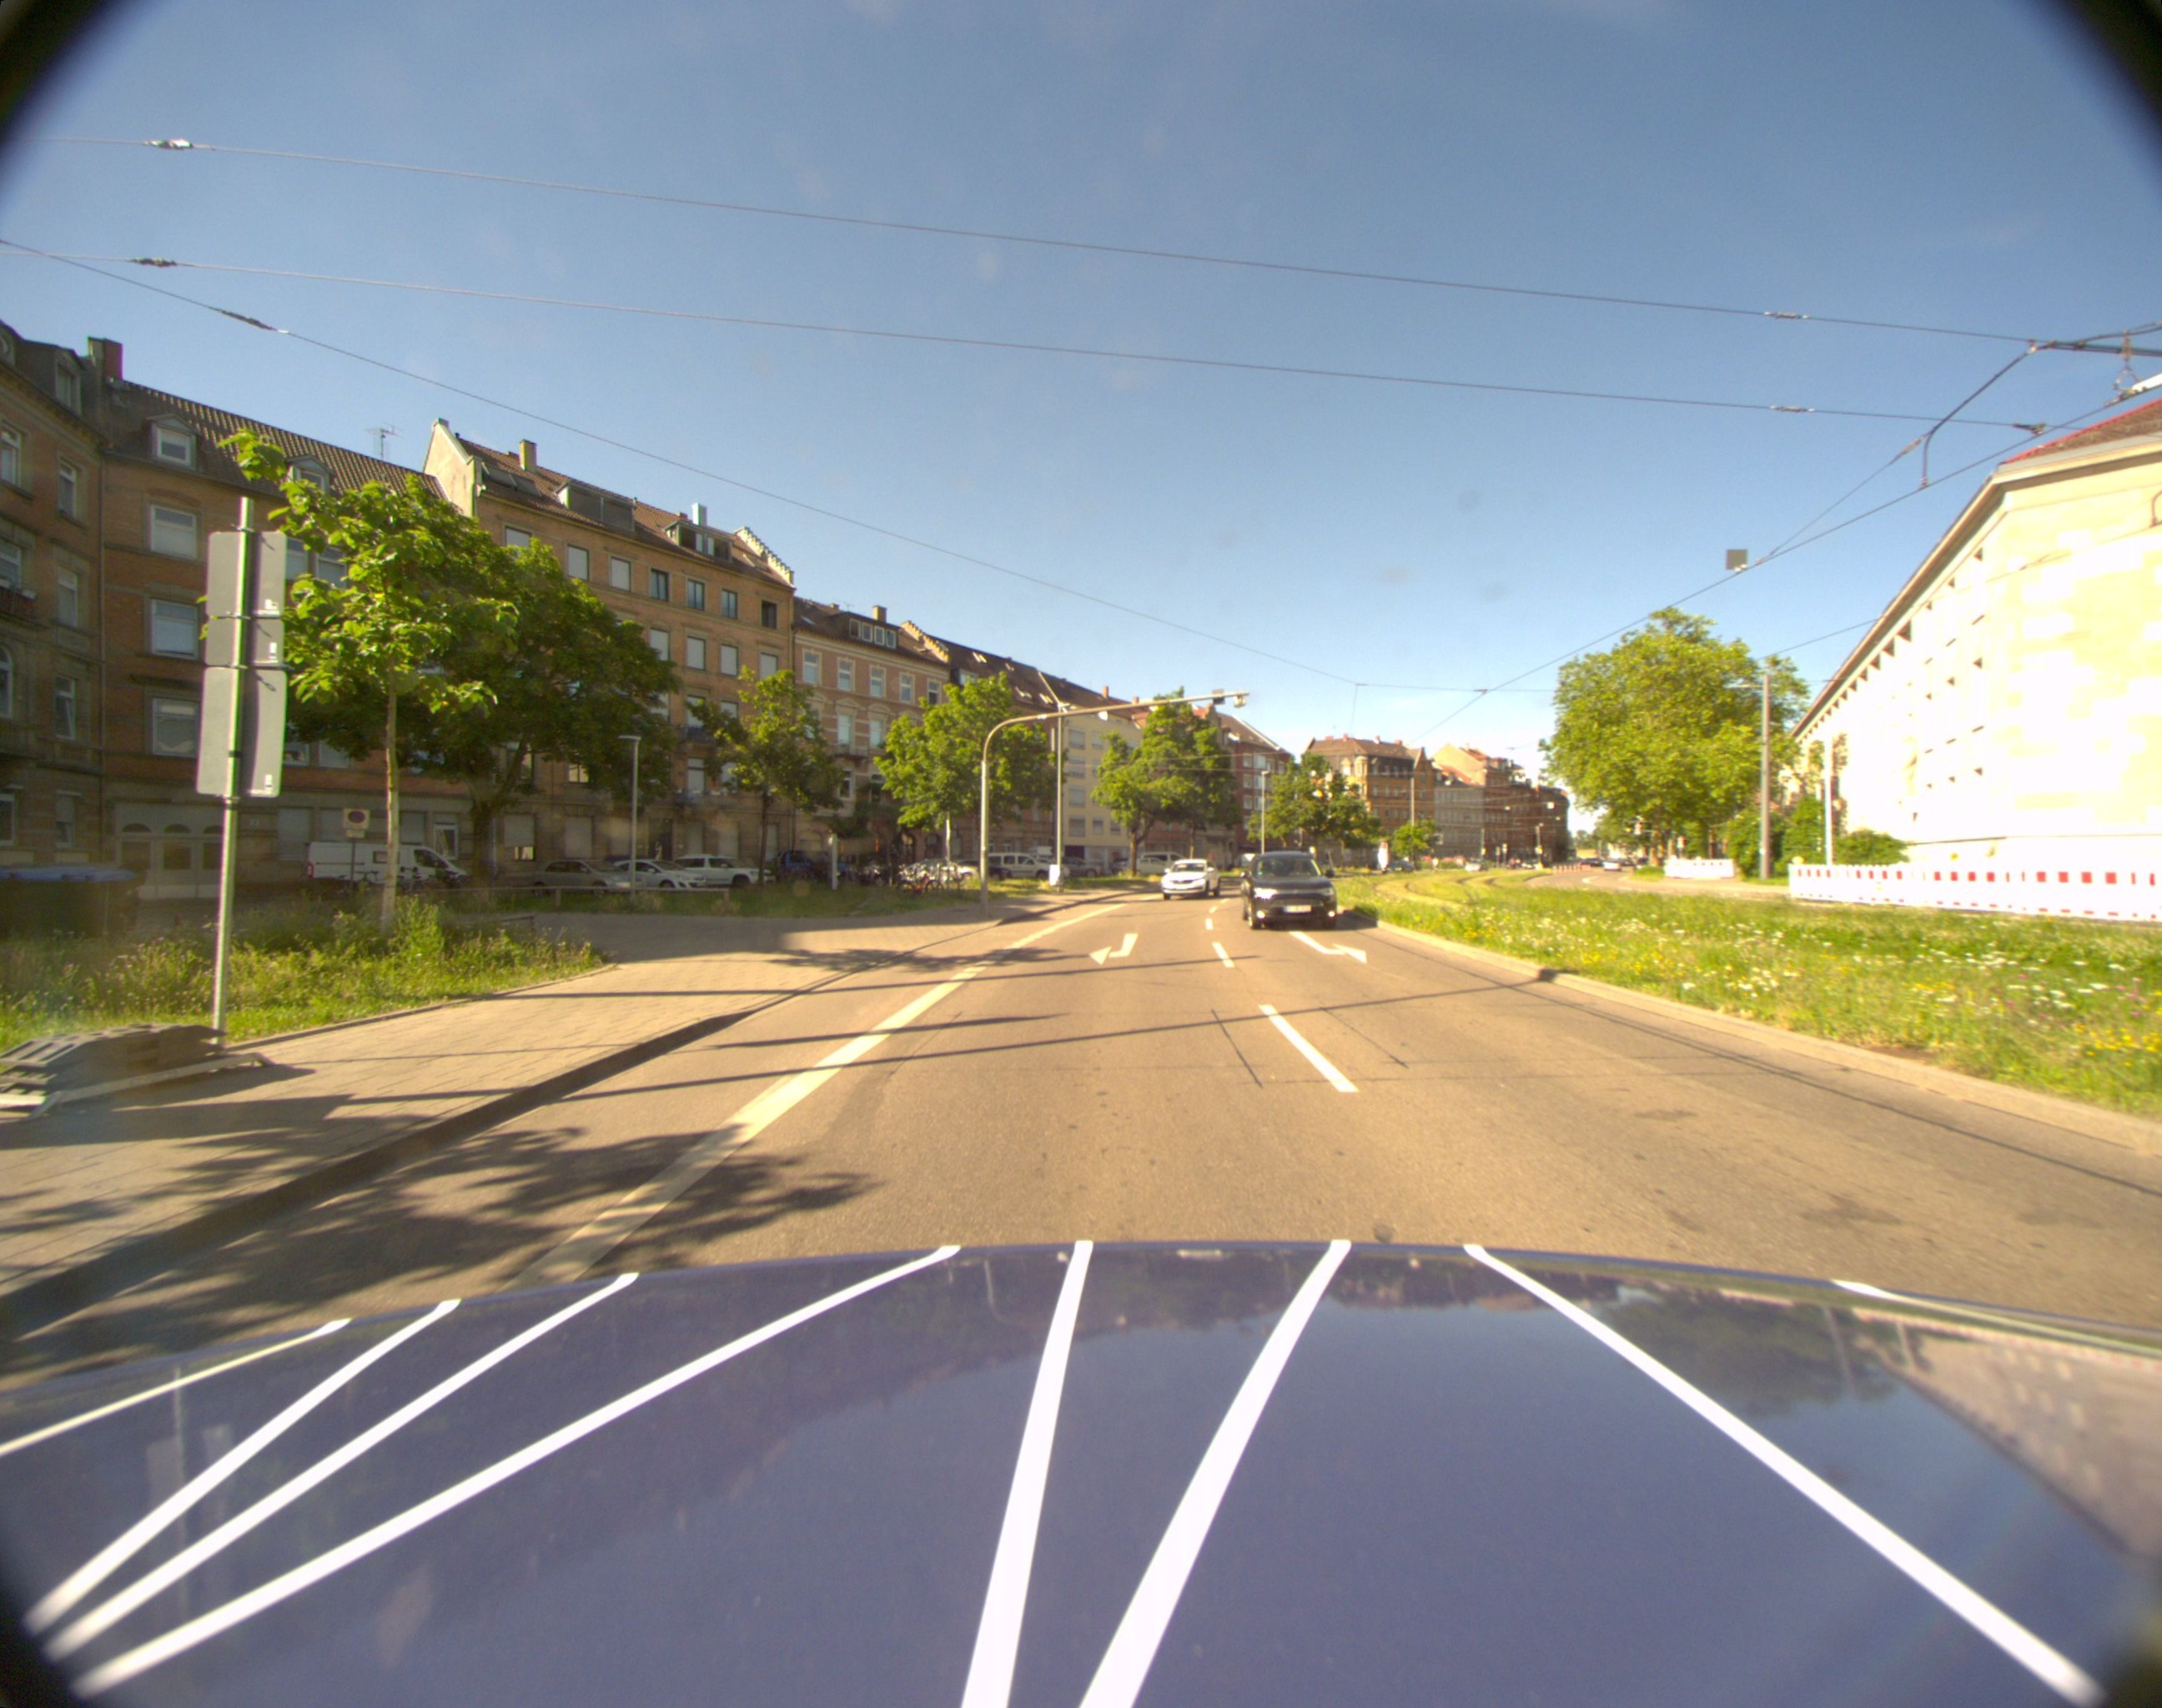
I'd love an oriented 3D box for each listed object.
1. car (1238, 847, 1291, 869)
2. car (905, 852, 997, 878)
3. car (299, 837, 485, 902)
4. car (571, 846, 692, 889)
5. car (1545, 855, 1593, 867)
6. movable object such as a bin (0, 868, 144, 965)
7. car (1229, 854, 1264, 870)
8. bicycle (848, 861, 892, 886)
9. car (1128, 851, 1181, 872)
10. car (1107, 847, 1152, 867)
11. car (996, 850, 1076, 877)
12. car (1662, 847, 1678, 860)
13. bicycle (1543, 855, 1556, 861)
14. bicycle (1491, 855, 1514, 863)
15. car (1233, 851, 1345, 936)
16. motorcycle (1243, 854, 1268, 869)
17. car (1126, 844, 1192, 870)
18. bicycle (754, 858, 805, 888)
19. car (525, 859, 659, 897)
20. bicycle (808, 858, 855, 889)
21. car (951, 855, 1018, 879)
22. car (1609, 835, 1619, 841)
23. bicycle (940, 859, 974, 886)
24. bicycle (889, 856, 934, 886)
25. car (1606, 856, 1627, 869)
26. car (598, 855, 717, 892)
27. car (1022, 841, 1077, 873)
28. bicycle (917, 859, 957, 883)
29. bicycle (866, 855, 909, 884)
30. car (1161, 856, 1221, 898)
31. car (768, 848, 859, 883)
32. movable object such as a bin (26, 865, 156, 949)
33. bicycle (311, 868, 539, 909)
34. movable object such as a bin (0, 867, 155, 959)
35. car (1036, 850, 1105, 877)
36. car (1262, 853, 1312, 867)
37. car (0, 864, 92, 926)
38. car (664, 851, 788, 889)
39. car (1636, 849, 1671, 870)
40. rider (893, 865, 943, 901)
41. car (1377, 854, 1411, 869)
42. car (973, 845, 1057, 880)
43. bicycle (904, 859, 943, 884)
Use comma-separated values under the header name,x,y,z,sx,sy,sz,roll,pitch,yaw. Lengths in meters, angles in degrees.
name,x,y,z,sx,sy,sz,roll,pitch,yaw
car,18.388,0.390,76.343,4.875,2.063,2.021,1,1,4
car,-7.256,0.600,42.672,4.747,1.372,2.047,0,0,5
car,-27.357,0.562,30.330,2.349,2.343,5.199,2,1,39
car,-22.193,0.662,37.649,1.994,1.966,4.734,2,1,39
car,64.000,0.862,99.692,1.839,1.444,4.948,0,1,-31
movable object such as a bin,-15.582,0.915,11.608,1.306,1.390,1.069,0,0,-31
car,19.559,0.953,89.824,1.996,1.464,4.498,-9,-4,41
bicycle,-10.104,0.912,36.358,2.163,1.151,0.824,-1,0,35
car,5.775,0.560,59.534,4.025,1.470,1.813,1,1,5
car,4.680,0.269,72.473,1.994,1.789,4.636,2,1,38
car,-2.953,0.592,50.123,4.873,1.638,2.102,1,1,9
car,90.654,-0.069,116.909,1.917,2.084,4.602,0,0,37
bicycle,88.951,0.714,144.352,0.846,1.131,1.915,0,1,-36
bicycle,74.050,0.845,133.429,1.964,1.408,6.842,3,2,43
car,4.632,0.794,17.532,1.839,1.672,4.645,-1,0,7
motorcycle,17.015,0.745,74.089,2.262,1.412,0.854,1,1,-11
car,6.444,0.222,62.412,5.179,2.001,2.102,1,1,9
bicycle,-14.411,0.906,36.391,2.099,1.357,0.787,-1,0,-2
car,-18.022,0.860,28.084,4.049,1.329,1.841,0,0,13
bicycle,-11.305,0.875,34.403,2.094,1.390,0.789,-1,0,28
car,-5.690,0.762,45.162,3.610,1.372,1.926,0,0,5
car,139.933,-4.273,199.497,1.793,1.420,4.385,0,0,39
bicycle,-6.073,0.894,37.102,1.598,1.282,0.769,1,1,-12
bicycle,-7.901,0.785,35.398,2.094,1.357,0.789,-1,0,33
car,65.111,1.035,92.351,1.830,1.444,4.180,1,1,39
car,-16.796,0.773,30.229,3.838,1.433,1.761,0,0,7
car,-2.574,0.250,63.076,1.994,2.570,4.523,2,1,40
bicycle,-7.330,0.847,38.639,1.945,1.174,0.902,1,2,38
bicycle,-9.452,0.741,37.132,2.094,1.357,0.789,-1,0,33
car,4.796,0.935,32.604,1.799,1.626,4.400,-1,0,18
car,-15.912,0.654,45.396,1.994,1.966,4.734,2,1,39
movable object such as a bin,-17.423,0.898,13.416,1.092,1.390,1.029,0,0,-31
bicycle,-21.766,1.069,25.469,2.676,1.120,5.233,-1,0,33
movable object such as a bin,-16.505,0.926,12.488,1.323,1.390,1.108,0,0,-31
car,-0.698,0.610,52.700,4.506,1.718,2.001,1,1,9
car,22.215,0.661,82.030,4.874,1.426,2.021,1,1,6
car,-26.515,0.980,18.018,2.002,1.428,4.099,-1,0,-24
car,-15.145,0.677,32.537,4.464,1.556,1.939,0,0,7
car,41.294,0.385,54.776,1.830,1.483,4.190,0,0,39
rider,-5.988,1.044,27.931,1.678,1.169,0.502,-5,3,-34
car,29.341,0.689,71.212,1.885,1.419,4.385,-1,0,36
car,-4.095,0.490,47.583,4.874,2.001,2.101,1,1,5
bicycle,-7.853,0.860,37.872,1.958,1.185,0.843,2,1,38
